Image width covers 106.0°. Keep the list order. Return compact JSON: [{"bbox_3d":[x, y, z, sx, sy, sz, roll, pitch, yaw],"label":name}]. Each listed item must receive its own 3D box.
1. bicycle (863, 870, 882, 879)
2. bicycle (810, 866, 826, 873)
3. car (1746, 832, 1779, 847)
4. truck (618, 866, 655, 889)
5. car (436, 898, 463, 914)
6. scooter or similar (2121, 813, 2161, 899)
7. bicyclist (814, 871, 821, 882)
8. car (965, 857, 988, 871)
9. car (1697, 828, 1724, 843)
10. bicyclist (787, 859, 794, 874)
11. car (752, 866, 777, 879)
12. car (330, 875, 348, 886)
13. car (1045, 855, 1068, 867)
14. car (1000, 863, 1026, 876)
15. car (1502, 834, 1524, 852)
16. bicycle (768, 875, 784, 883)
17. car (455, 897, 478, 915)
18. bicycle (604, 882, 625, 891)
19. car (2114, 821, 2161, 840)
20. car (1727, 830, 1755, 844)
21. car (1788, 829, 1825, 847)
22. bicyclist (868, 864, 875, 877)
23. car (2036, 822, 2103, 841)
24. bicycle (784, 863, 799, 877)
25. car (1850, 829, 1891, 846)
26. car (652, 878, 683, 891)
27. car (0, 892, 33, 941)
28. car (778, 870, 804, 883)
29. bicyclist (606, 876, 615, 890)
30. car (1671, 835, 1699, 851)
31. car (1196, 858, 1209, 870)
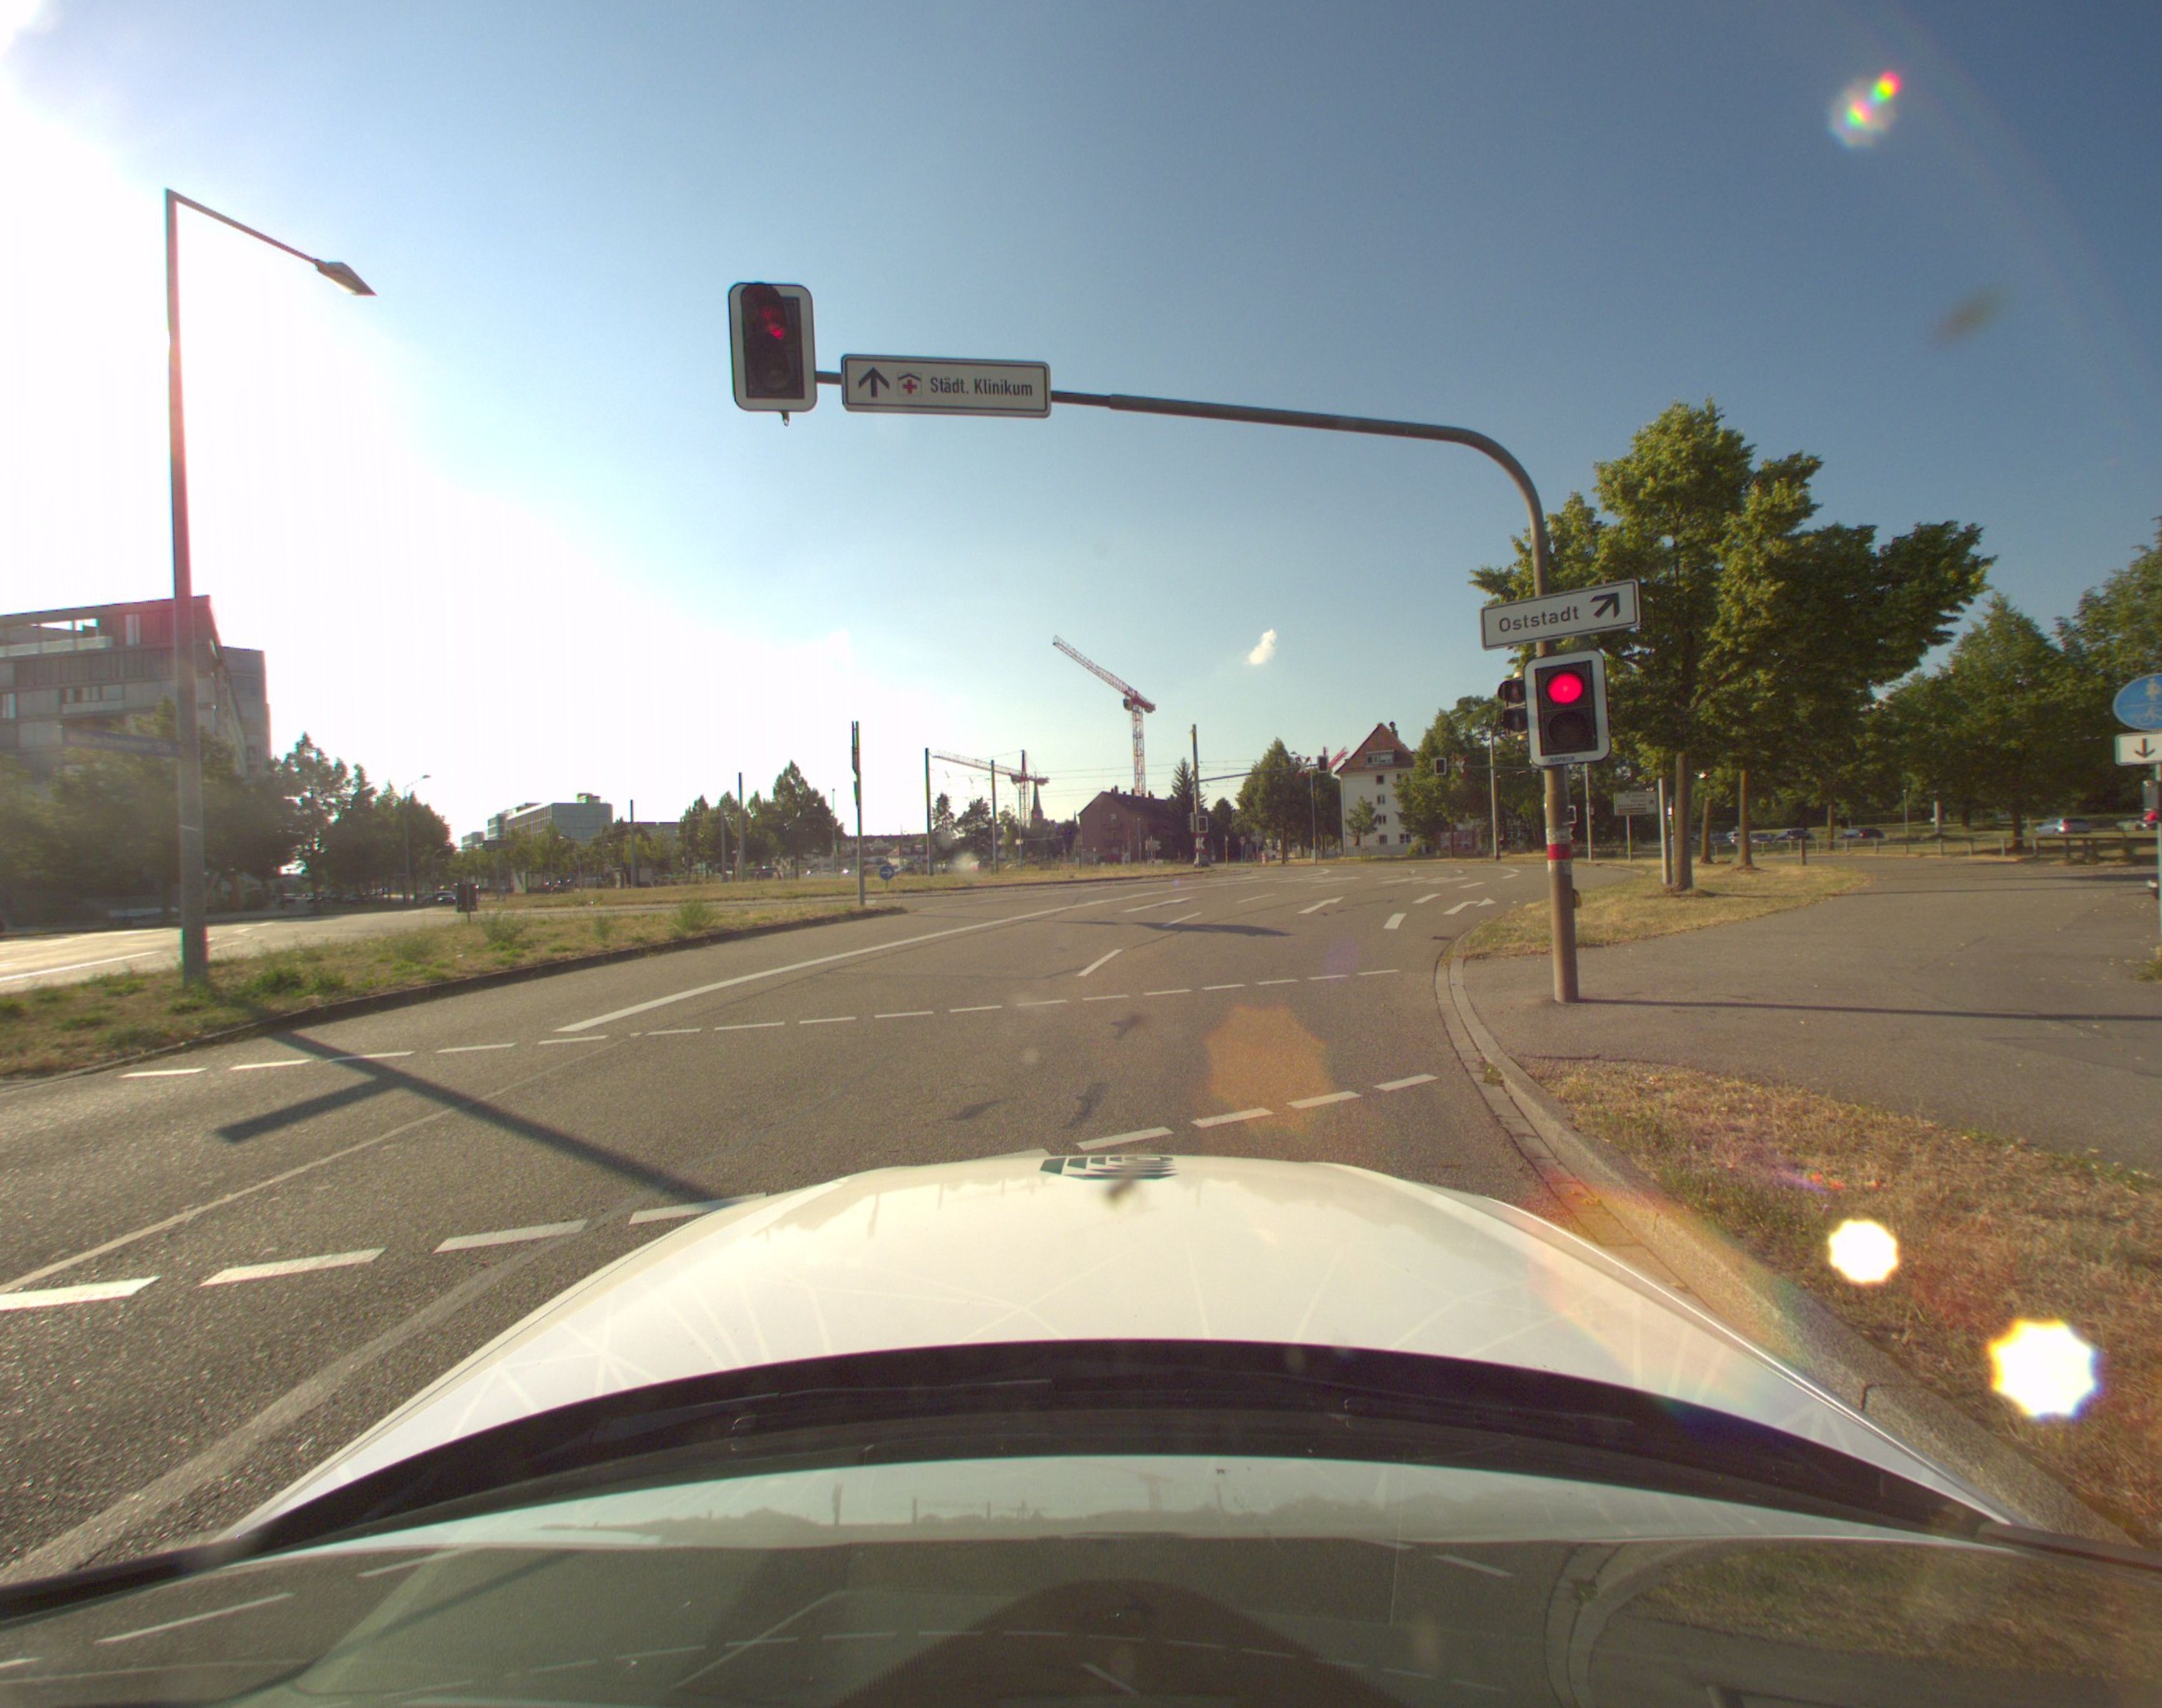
[{"bbox_3d":[-24.291,2.411,94.940,1.983,0.918,0.429,-2,0,-4],"label":"bicycle"},{"bbox_3d":[-30.702,1.796,95.059,1.725,0.744,0.476,-2,0,-27],"label":"bicycle"},{"bbox_3d":[61.170,-1.269,73.160,1.586,1.221,3.993,-3,-1,30],"label":"car"},{"bbox_3d":[-67.473,3.539,123.551,3.156,3.231,7.085,-2,0,-44],"label":"truck"},{"bbox_3d":[-67.327,5.538,86.818,2.011,1.475,3.952,-2,0,-42],"label":"car"},{"bbox_3d":[15.407,0.007,11.601,1.172,1.160,0.340,-4,-3,-23],"label":"scooter or similar"},{"bbox_3d":[-30.753,2.643,95.042,0.655,1.325,0.514,-2,0,-27],"label":"bicyclist"},{"bbox_3d":[-14.937,1.468,116.630,1.930,1.854,3.963,-2,0,-28],"label":"car"},{"bbox_3d":[64.763,-1.847,83.846,1.586,1.402,3.993,-3,-1,30],"label":"car"},{"bbox_3d":[-33.182,1.390,93.059,0.609,1.672,0.474,-2,-1,-25],"label":"bicyclist"},{"bbox_3d":[-53.295,3.041,137.251,3.948,2.013,2.013,-3,0,36],"label":"car"},{"bbox_3d":[-110.771,3.910,121.511,1.800,1.556,3.950,0,-1,-45],"label":"car"},{"bbox_3d":[-4.560,1.225,150.014,3.776,2.014,1.680,-3,-1,20],"label":"car"},{"bbox_3d":[-11.166,2.571,132.965,3.776,2.014,1.680,-3,-1,20],"label":"car"},{"bbox_3d":[43.093,-1.096,81.228,1.754,1.618,3.993,-3,-1,30],"label":"car"},{"bbox_3d":[-34.867,2.875,93.056,1.622,0.860,0.541,-2,0,-24],"label":"bicycle"},{"bbox_3d":[-58.577,4.938,77.631,1.493,1.475,3.260,-2,0,-42],"label":"car"},{"bbox_3d":[-46.763,3.254,81.621,1.731,0.744,0.475,-2,0,-43],"label":"bicycle"},{"bbox_3d":[82.766,-1.815,63.040,1.804,1.403,4.023,-3,-1,26],"label":"car"},{"bbox_3d":[67.128,-1.710,82.861,1.586,1.402,3.993,-3,-1,30],"label":"car"},{"bbox_3d":[63.367,-1.377,71.172,1.586,1.402,3.993,-3,-1,30],"label":"car"},{"bbox_3d":[-24.406,1.944,94.938,0.621,1.511,0.418,-2,0,-4],"label":"bicyclist"},{"bbox_3d":[78.243,-1.756,64.548,1.804,1.403,4.023,-3,-1,26],"label":"car"},{"bbox_3d":[-33.048,1.828,93.093,1.547,1.473,0.475,-2,0,-26],"label":"bicycle"},{"bbox_3d":[67.193,-1.357,69.371,1.586,1.310,3.993,-3,-1,30],"label":"car"},{"bbox_3d":[-43.254,3.183,85.202,2.687,1.261,1.102,-2,0,-36],"label":"car"},{"bbox_3d":[-47.849,2.765,33.860,1.975,2.013,4.848,-3,0,24],"label":"car"},{"bbox_3d":[-47.018,3.676,131.990,3.948,2.013,2.013,-3,0,36],"label":"car"},{"bbox_3d":[-47.064,2.915,81.415,0.658,1.325,0.512,-2,0,-42],"label":"bicyclist"},{"bbox_3d":[56.056,-1.013,75.642,1.586,1.402,3.993,-3,-1,30],"label":"car"},{"bbox_3d":[14.214,1.173,95.553,1.447,1.300,3.557,-2,0,8],"label":"car"}]
